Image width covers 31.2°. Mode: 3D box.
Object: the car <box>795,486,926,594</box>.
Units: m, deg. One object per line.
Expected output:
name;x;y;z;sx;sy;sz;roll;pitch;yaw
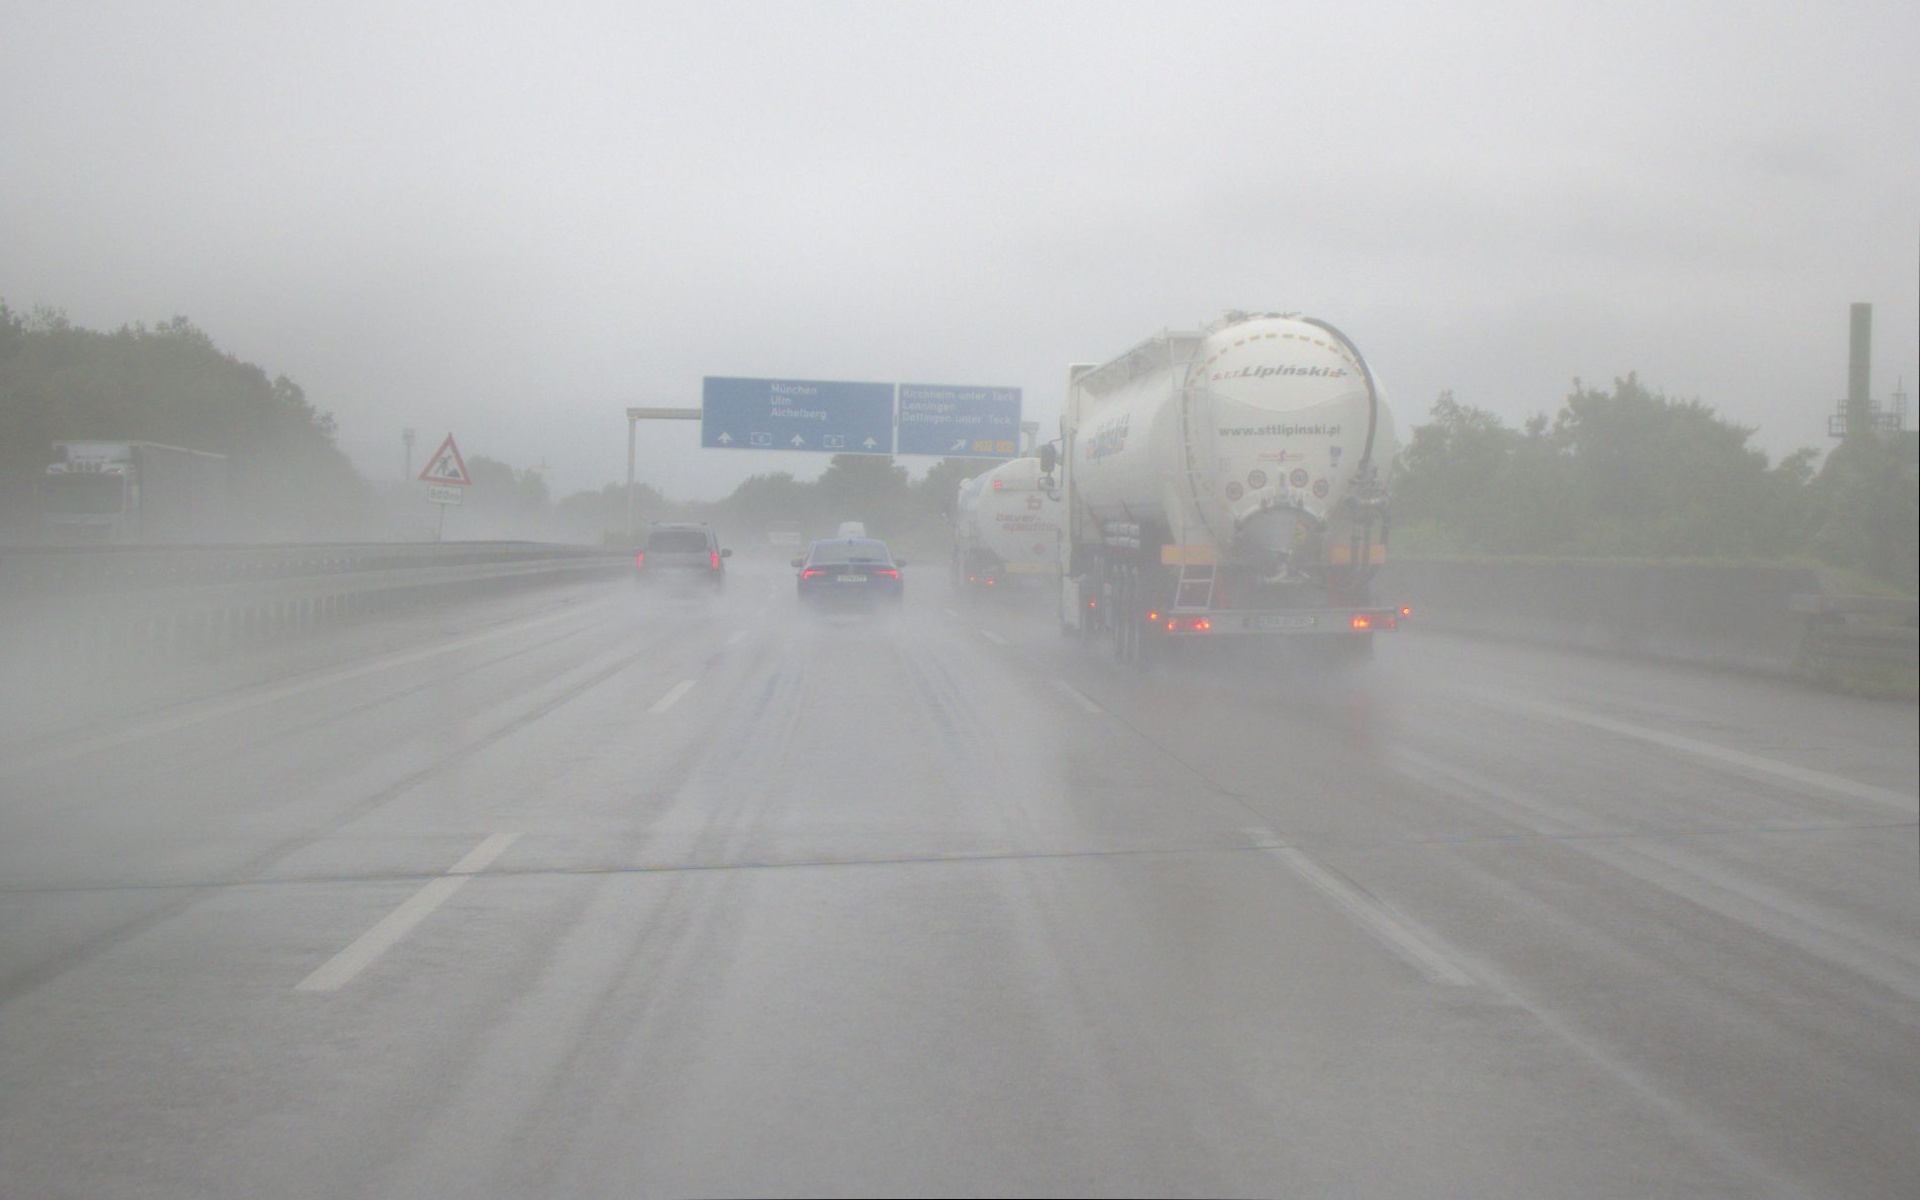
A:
car;-1.651;-1.046;58.410;1.978;1.750;4.481;0;2;2

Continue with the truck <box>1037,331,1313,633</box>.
truck;2.818;-1.588;47.459;3.104;3.793;7.213;1;1;-2

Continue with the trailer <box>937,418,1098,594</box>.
trailer;1.225;-2.174;79.576;3.004;3.834;8.625;0;1;-4

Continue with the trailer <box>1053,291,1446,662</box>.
trailer;3.057;-1.376;40.236;3.188;3.657;11.668;1;1;-2

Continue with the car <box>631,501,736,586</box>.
car;-5.863;-1.220;73.319;1.925;1.735;4.404;1;1;-1

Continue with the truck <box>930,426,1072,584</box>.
truck;0.935;-2.304;83.855;2.943;3.671;6.363;1;1;-3
